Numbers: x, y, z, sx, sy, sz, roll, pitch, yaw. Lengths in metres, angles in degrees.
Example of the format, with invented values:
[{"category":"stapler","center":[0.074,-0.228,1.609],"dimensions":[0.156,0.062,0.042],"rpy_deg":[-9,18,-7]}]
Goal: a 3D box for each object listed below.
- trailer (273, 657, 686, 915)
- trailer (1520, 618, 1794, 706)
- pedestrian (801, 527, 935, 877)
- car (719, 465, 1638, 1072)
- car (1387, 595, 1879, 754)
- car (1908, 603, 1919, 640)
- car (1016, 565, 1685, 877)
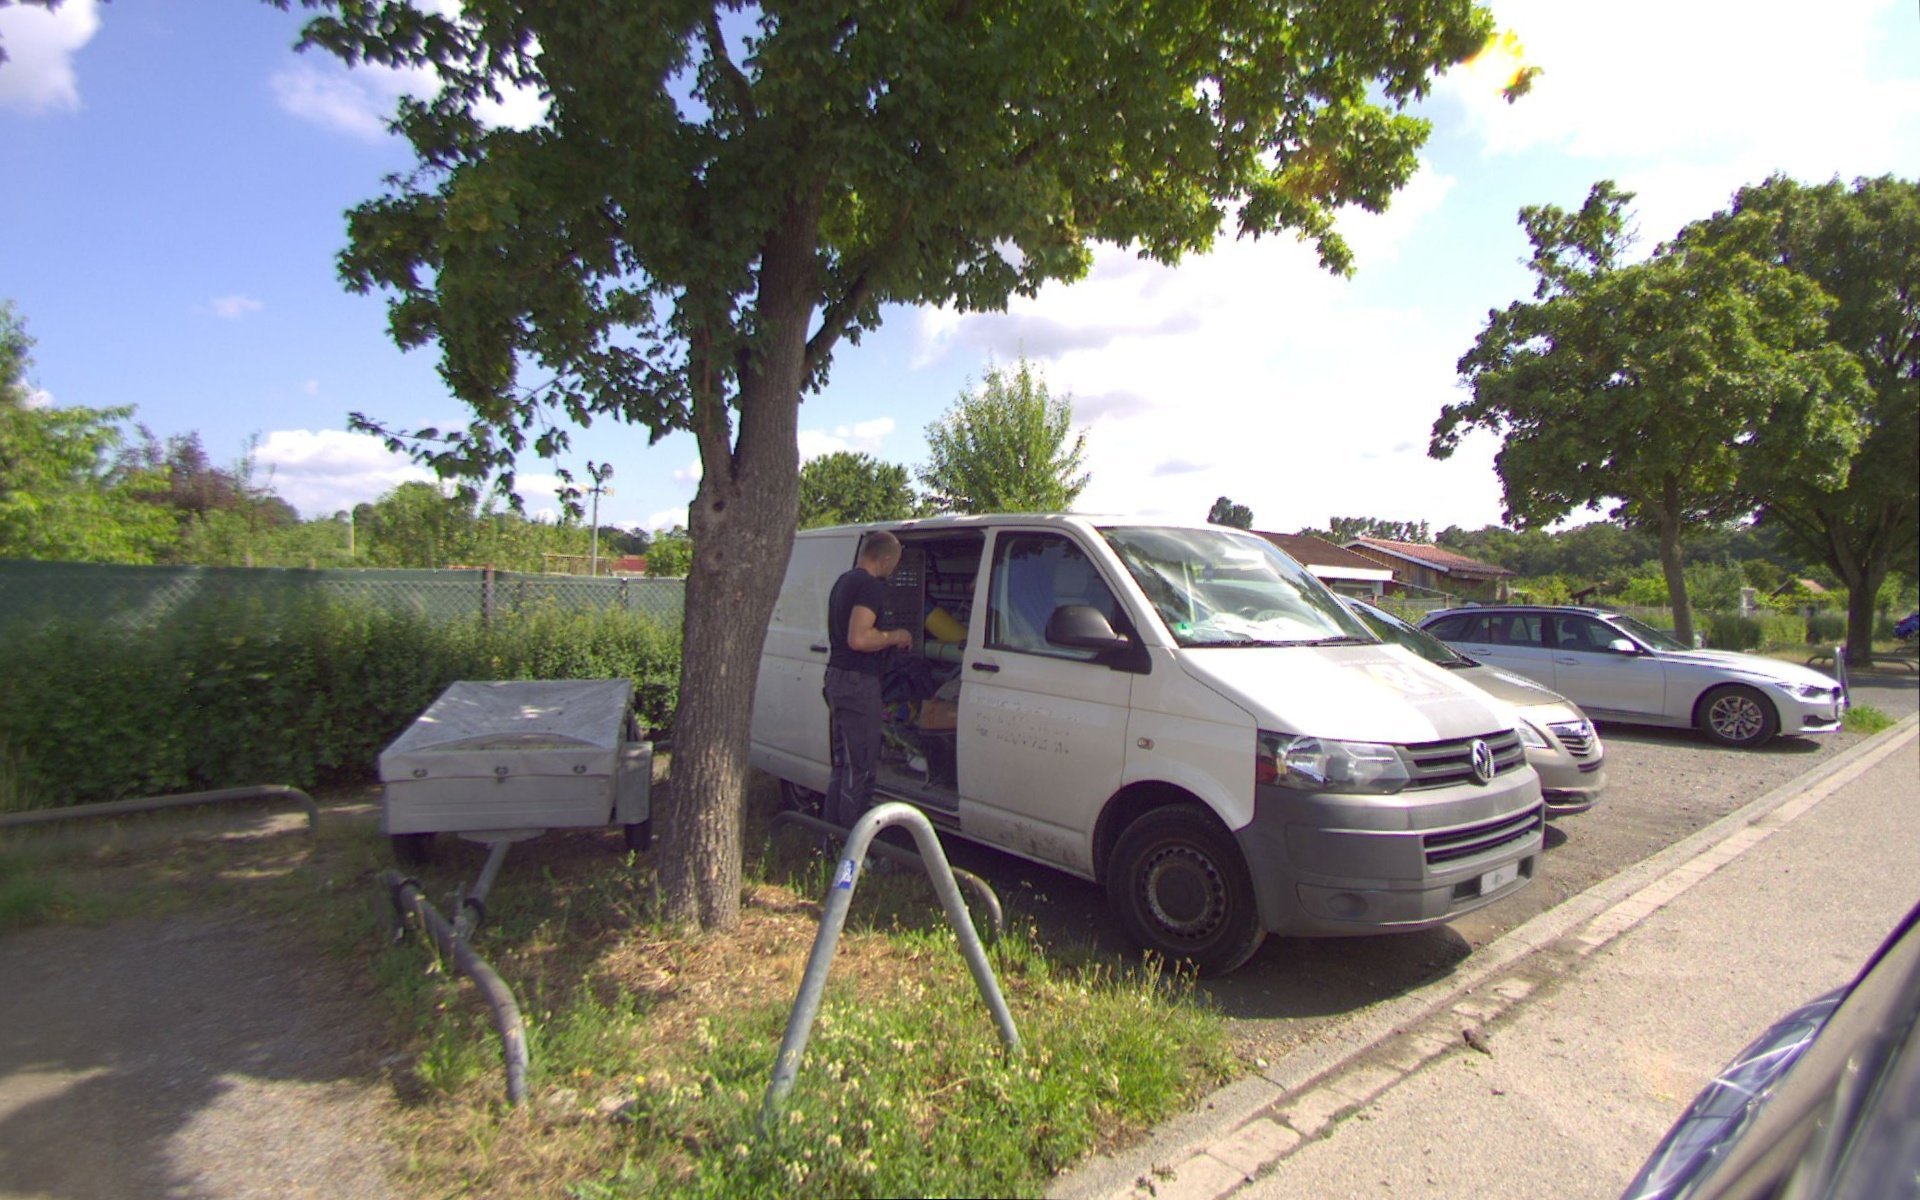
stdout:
[{"category":"trailer","center":[-2.489,0.885,5.957],"dimensions":[1.527,0.888,3.073],"rpy_deg":[1,0,-12]},{"category":"trailer","center":[10.765,0.880,15.736],"dimensions":[1.965,1.157,3.106],"rpy_deg":[0,0,-40]},{"category":"pedestrian","center":[-0.481,0.481,5.234],"dimensions":[0.465,1.694,0.524],"rpy_deg":[-1,2,-40]},{"category":"car","center":[0.738,0.458,5.623],"dimensions":[2.075,1.910,4.642],"rpy_deg":[1,1,-42]},{"category":"car","center":[7.777,0.712,12.058],"dimensions":[1.966,1.484,4.582],"rpy_deg":[1,0,-43]},{"category":"car","center":[43.759,0.987,43.628],"dimensions":[1.750,1.602,4.111],"rpy_deg":[1,0,-42]},{"category":"car","center":[2.598,0.590,7.601],"dimensions":[1.964,1.612,4.253],"rpy_deg":[1,1,-40]}]
